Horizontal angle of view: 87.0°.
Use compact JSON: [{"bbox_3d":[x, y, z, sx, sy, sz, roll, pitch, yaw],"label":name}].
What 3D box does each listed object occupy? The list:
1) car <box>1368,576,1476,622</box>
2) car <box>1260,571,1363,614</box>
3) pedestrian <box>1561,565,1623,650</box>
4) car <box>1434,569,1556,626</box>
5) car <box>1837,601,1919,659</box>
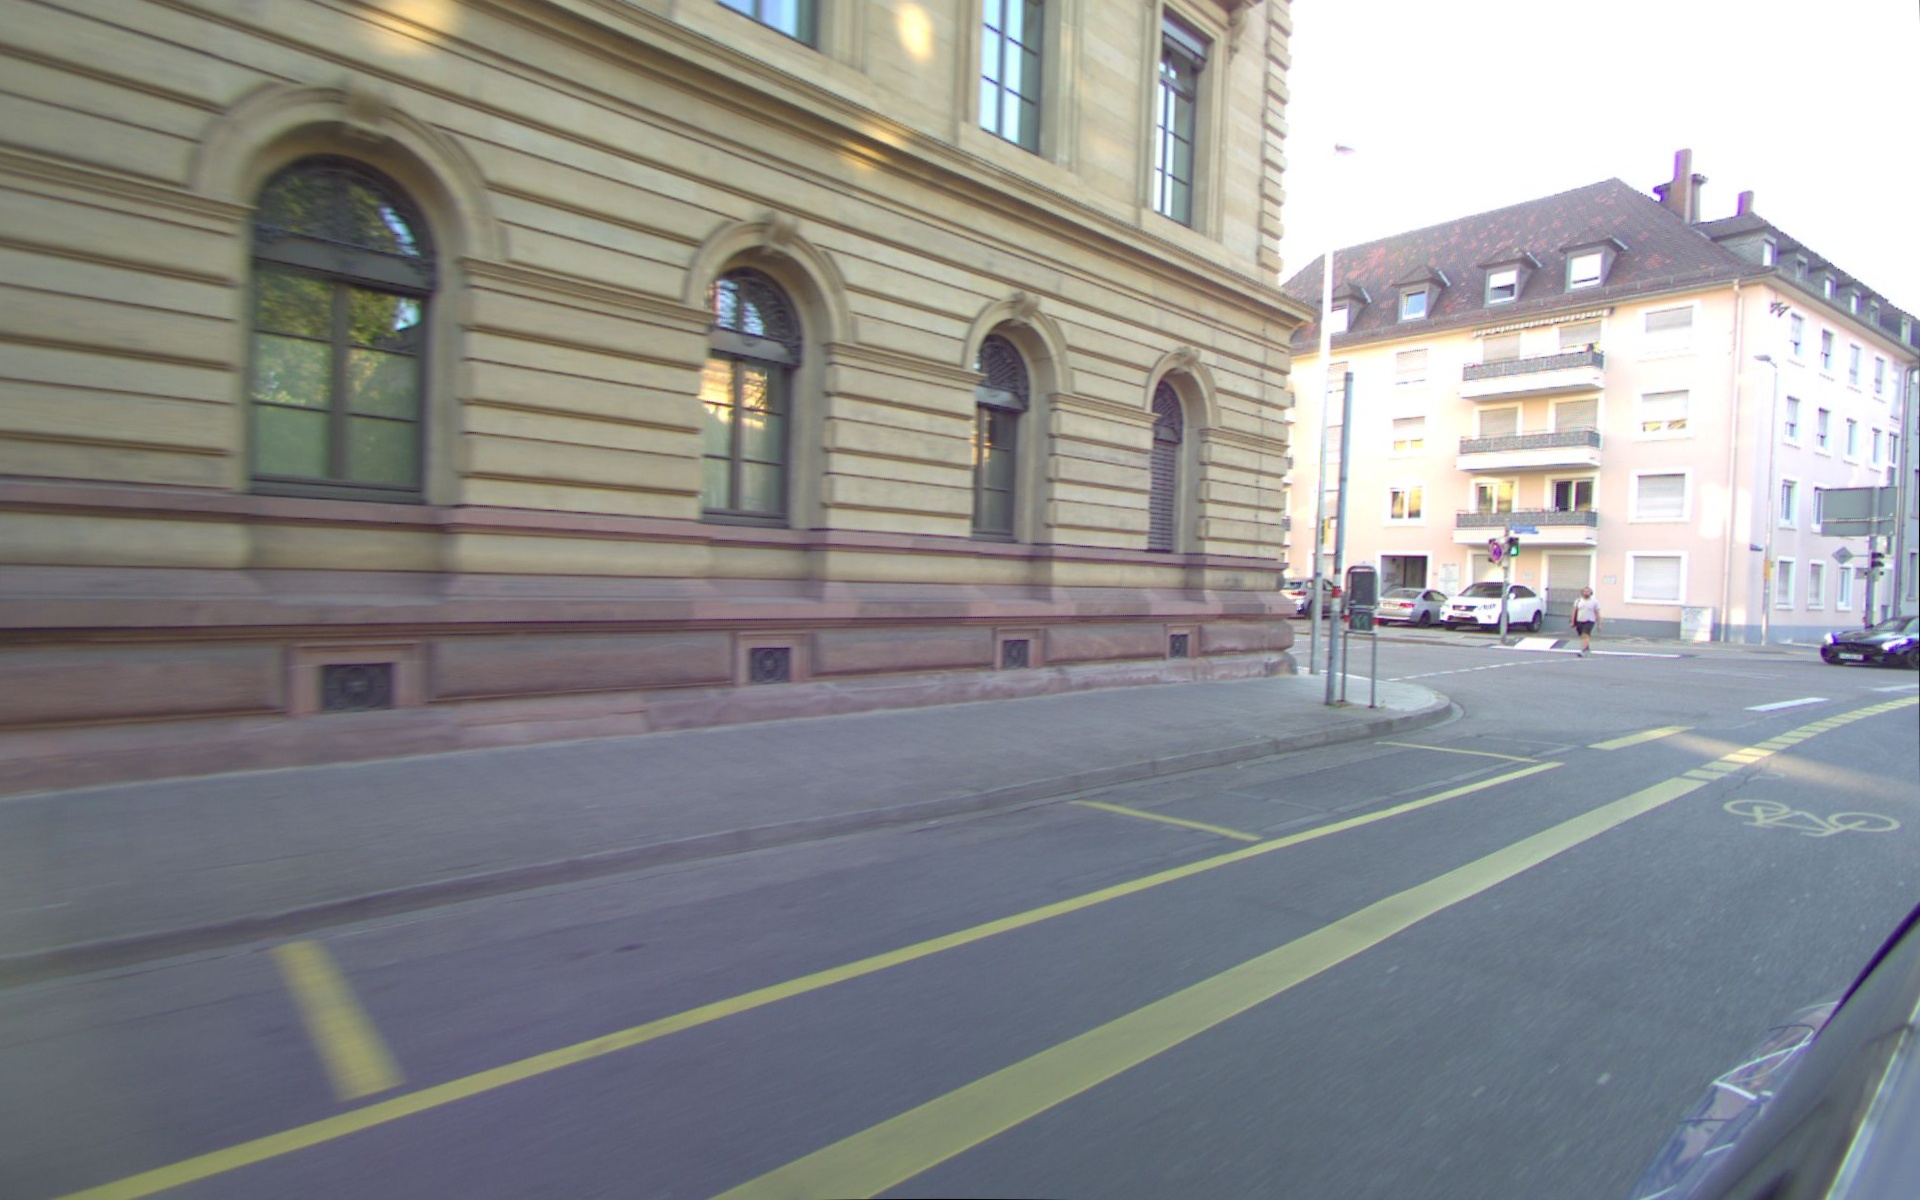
[{"bbox_3d":[16.668,-0.043,36.463,3.954,1.532,1.925,0,2,-38],"label":"car"},{"bbox_3d":[13.913,-0.340,39.996,3.982,1.565,2.011,-2,3,-38],"label":"car"},{"bbox_3d":[15.478,0.169,24.781,0.973,2.039,0.789,1,1,-19],"label":"pedestrian"},{"bbox_3d":[18.208,-0.088,34.393,4.393,1.771,1.999,0,2,-38],"label":"car"},{"bbox_3d":[23.313,0.713,25.110,2.178,1.317,4.289,1,0,43],"label":"car"}]
